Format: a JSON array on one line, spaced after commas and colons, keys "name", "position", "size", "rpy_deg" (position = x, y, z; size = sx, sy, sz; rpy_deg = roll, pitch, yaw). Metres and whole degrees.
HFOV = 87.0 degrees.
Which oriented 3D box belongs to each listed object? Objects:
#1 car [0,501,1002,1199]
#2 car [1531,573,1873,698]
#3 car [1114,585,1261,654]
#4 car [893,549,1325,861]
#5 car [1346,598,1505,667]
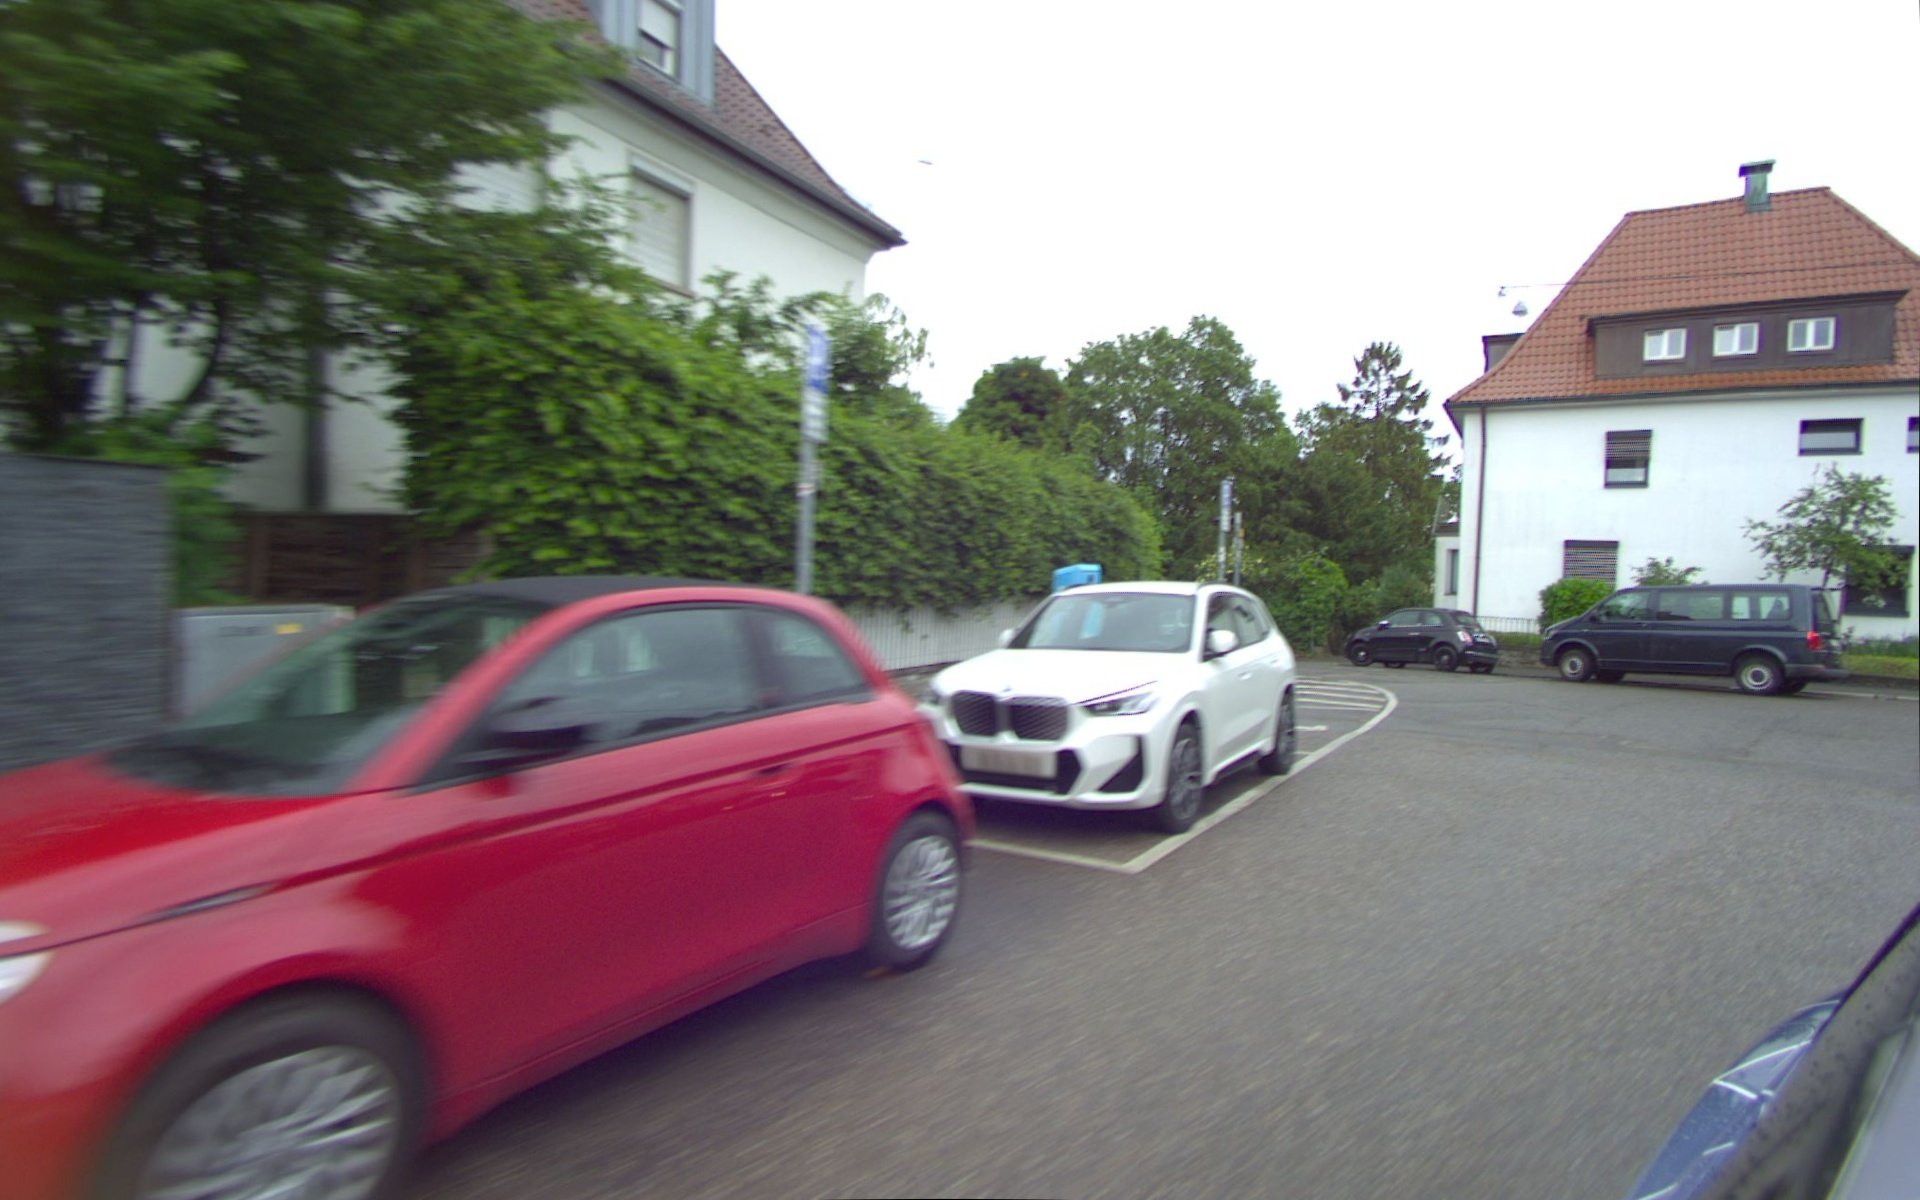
[{"name": "car", "position": [-1.454, 0.602, 3.306], "size": [1.605, 1.557, 3.497], "rpy_deg": [1, 0, 34]}, {"name": "car", "position": [14.064, 0.530, 19.510], "size": [1.905, 1.971, 4.923], "rpy_deg": [0, 3, -37]}, {"name": "car", "position": [6.790, 0.532, 30.357], "size": [3.968, 1.883, 1.752], "rpy_deg": [1, 1, 32]}, {"name": "car", "position": [1.491, 0.548, 7.928], "size": [1.736, 1.693, 4.596], "rpy_deg": [1, 0, 31]}, {"name": "car", "position": [10.956, 0.768, 24.002], "size": [1.296, 1.460, 3.271], "rpy_deg": [5, -4, -28]}]
